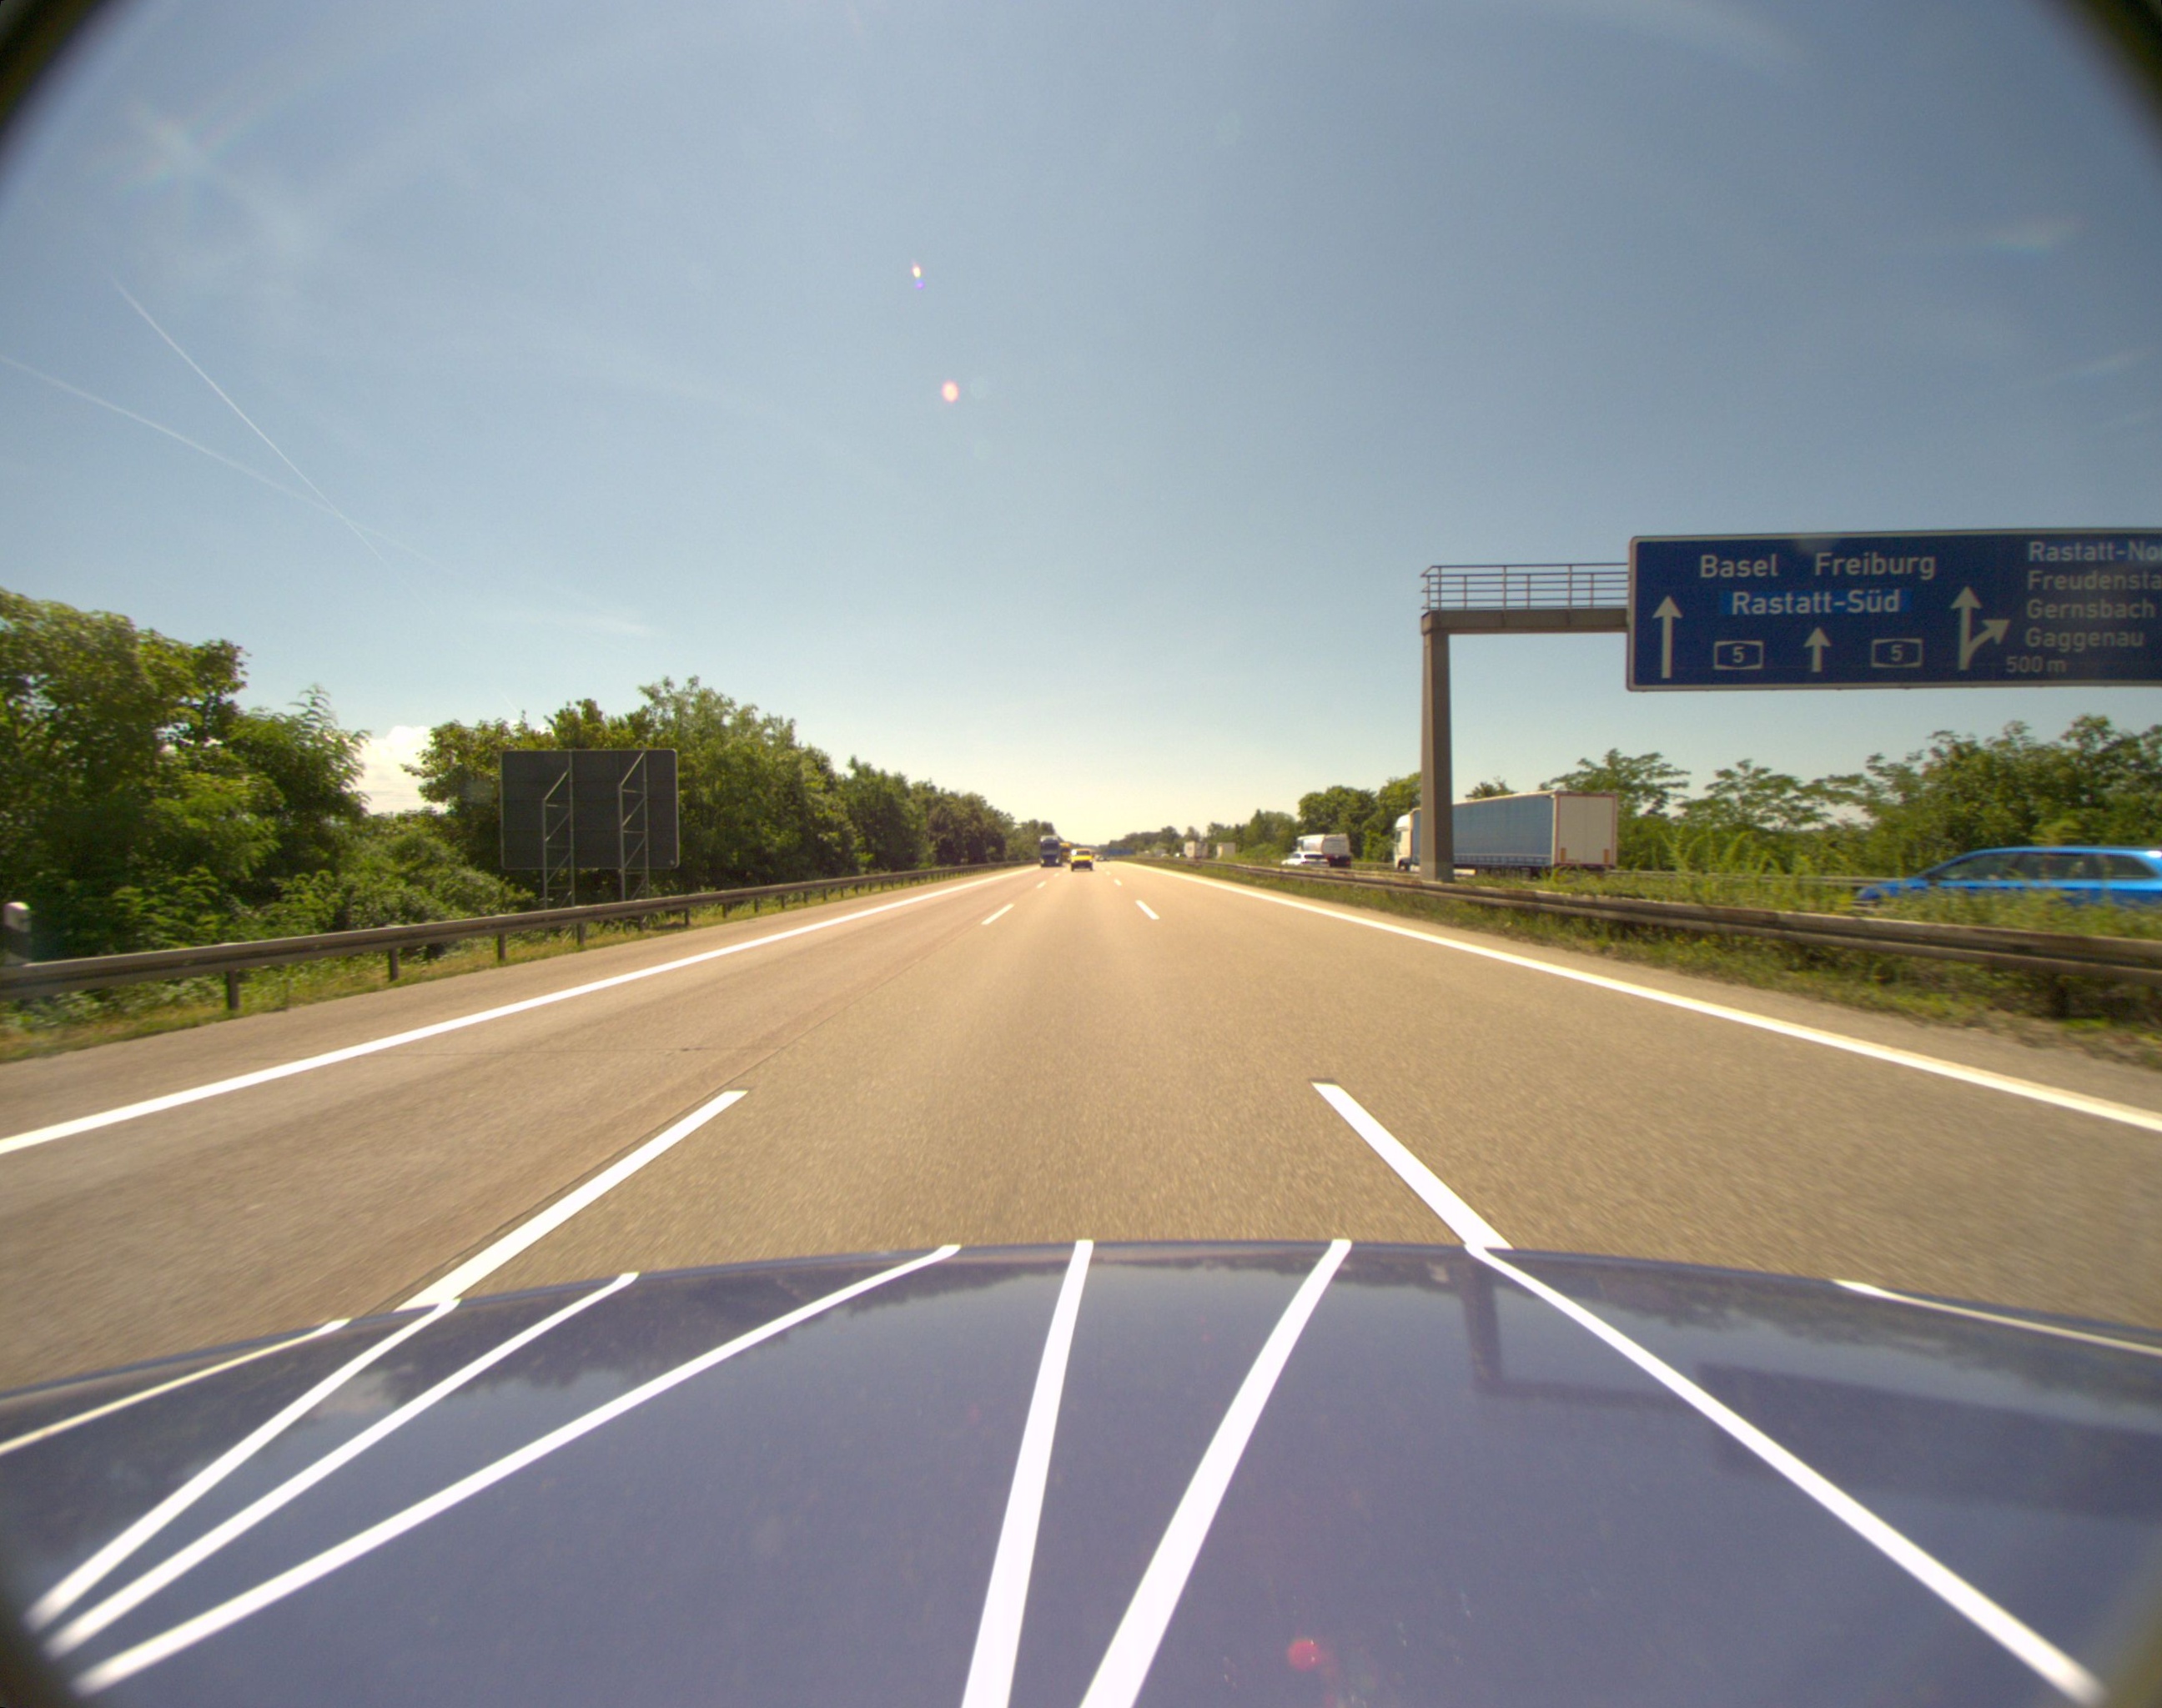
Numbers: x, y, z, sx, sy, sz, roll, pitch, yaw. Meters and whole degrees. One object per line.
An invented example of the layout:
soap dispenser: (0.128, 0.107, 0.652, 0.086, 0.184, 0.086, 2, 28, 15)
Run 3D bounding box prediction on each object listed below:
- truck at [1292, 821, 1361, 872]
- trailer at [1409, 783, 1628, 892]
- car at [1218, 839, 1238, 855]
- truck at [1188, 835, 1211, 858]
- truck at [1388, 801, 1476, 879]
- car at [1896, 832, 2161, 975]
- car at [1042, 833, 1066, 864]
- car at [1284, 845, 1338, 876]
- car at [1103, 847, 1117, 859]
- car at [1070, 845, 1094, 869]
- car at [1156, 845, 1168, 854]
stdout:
truck: (21.503, -0.691, 67.097, 3.243, 4.111, 8.606, -2, 1, 0)
trailer: (20.583, -0.743, 37.474, 2.750, 4.282, 13.946, -2, 1, 0)
car: (23.290, -1.148, 120.541, 2.370, 2.522, 4.518, -1, 1, 1)
truck: (22.679, -1.454, 145.683, 2.937, 4.328, 8.240, -2, 1, 1)
truck: (20.631, -0.792, 44.969, 2.750, 4.278, 5.054, -2, 1, 0)
car: (13.275, 0.544, 9.458, 1.998, 1.628, 4.000, -1, 1, 1)
car: (-3.430, -0.679, 96.992, 2.686, 3.724, 6.270, -1, 1, 1)
car: (13.444, 0.347, 44.580, 1.998, 1.712, 4.000, -1, 1, 1)
car: (6.151, -0.210, 160.547, 2.686, 2.510, 5.967, -1, 1, 1)
car: (0.124, 0.247, 66.711, 1.955, 2.002, 5.432, -1, 1, 1)
car: (19.249, -1.171, 180.967, 2.489, 2.002, 4.557, -2, 1, 1)
